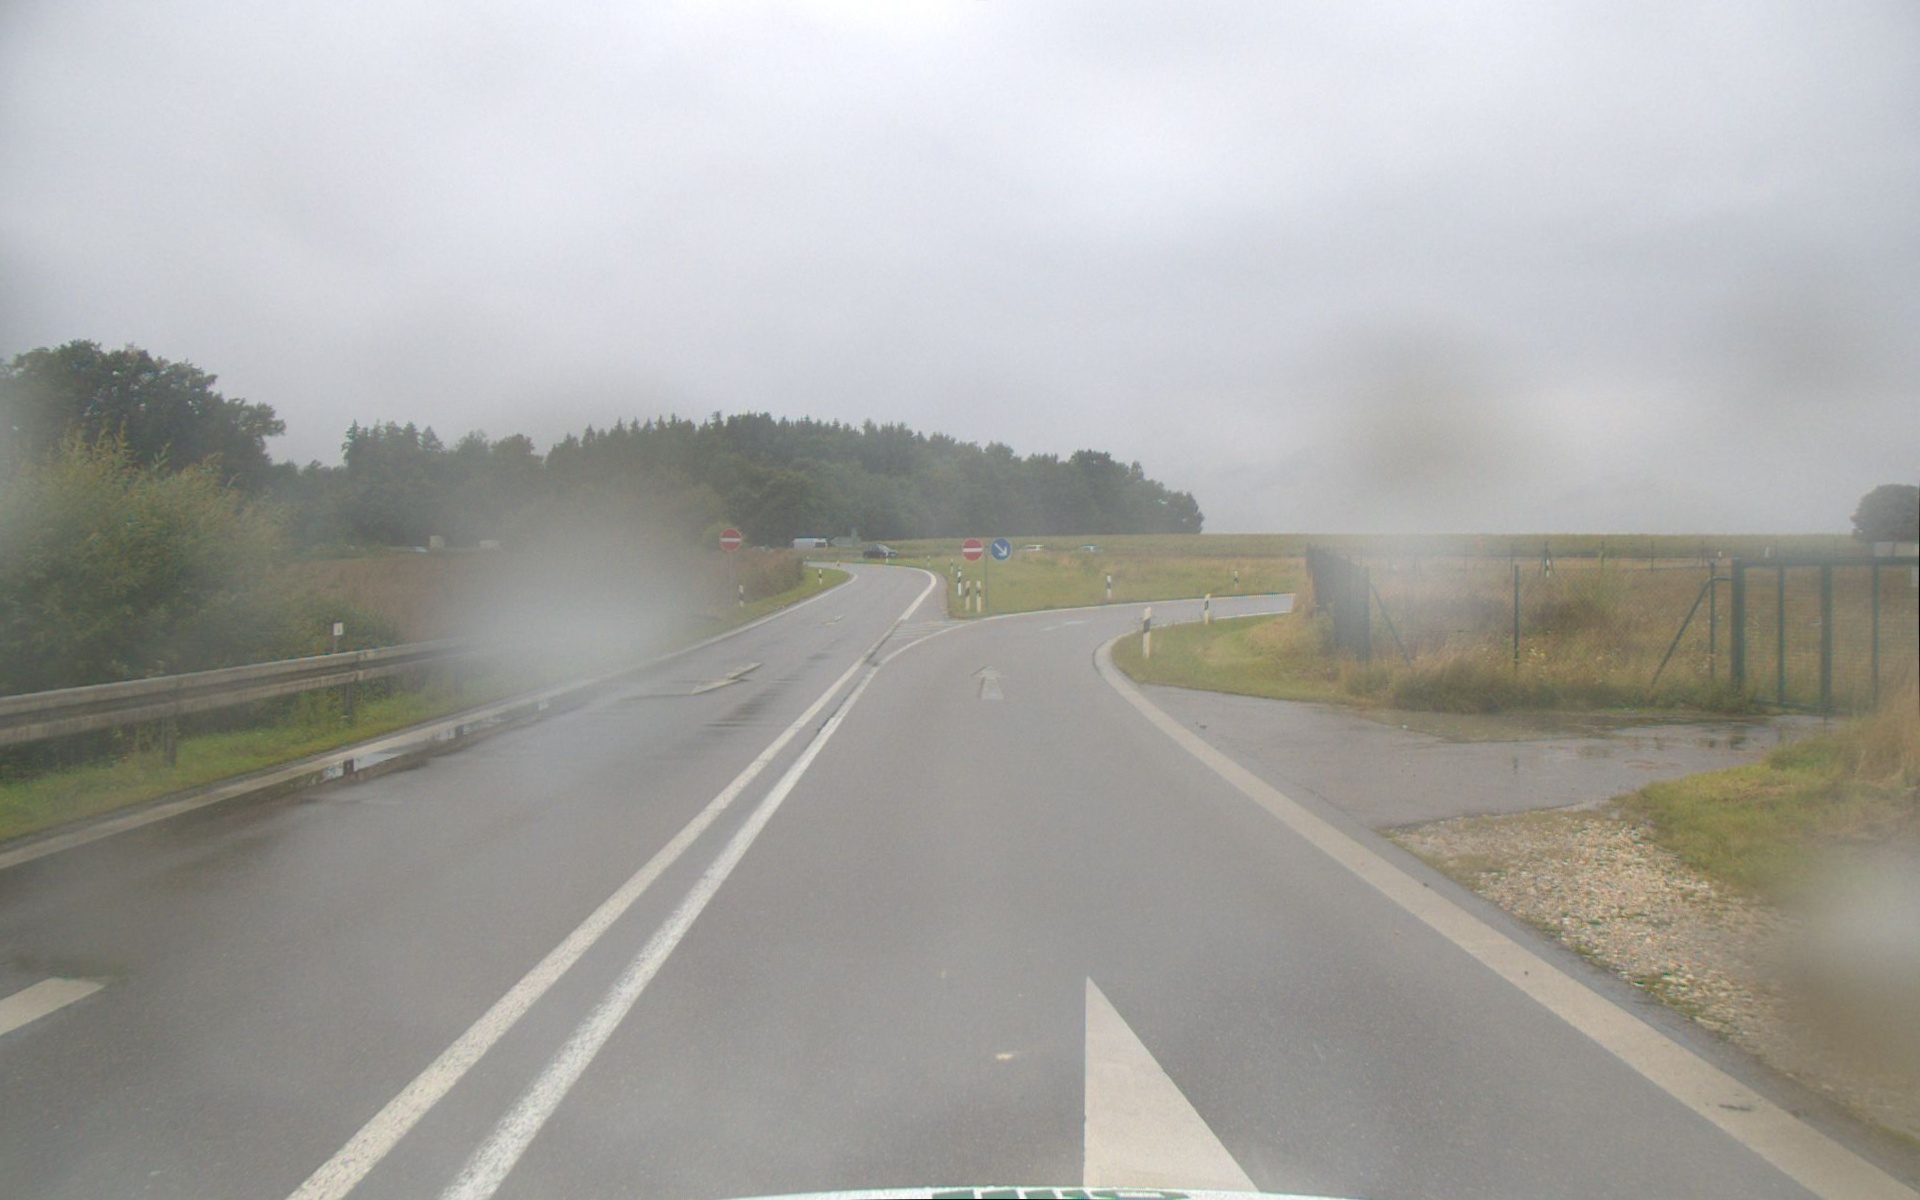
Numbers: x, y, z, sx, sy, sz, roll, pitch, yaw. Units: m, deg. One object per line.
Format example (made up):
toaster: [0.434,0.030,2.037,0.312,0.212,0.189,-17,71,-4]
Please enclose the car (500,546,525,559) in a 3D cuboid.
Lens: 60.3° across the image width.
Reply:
car: [-64.546,-6.813,238.760,1.857,1.766,3.937,-3,3,-43]
